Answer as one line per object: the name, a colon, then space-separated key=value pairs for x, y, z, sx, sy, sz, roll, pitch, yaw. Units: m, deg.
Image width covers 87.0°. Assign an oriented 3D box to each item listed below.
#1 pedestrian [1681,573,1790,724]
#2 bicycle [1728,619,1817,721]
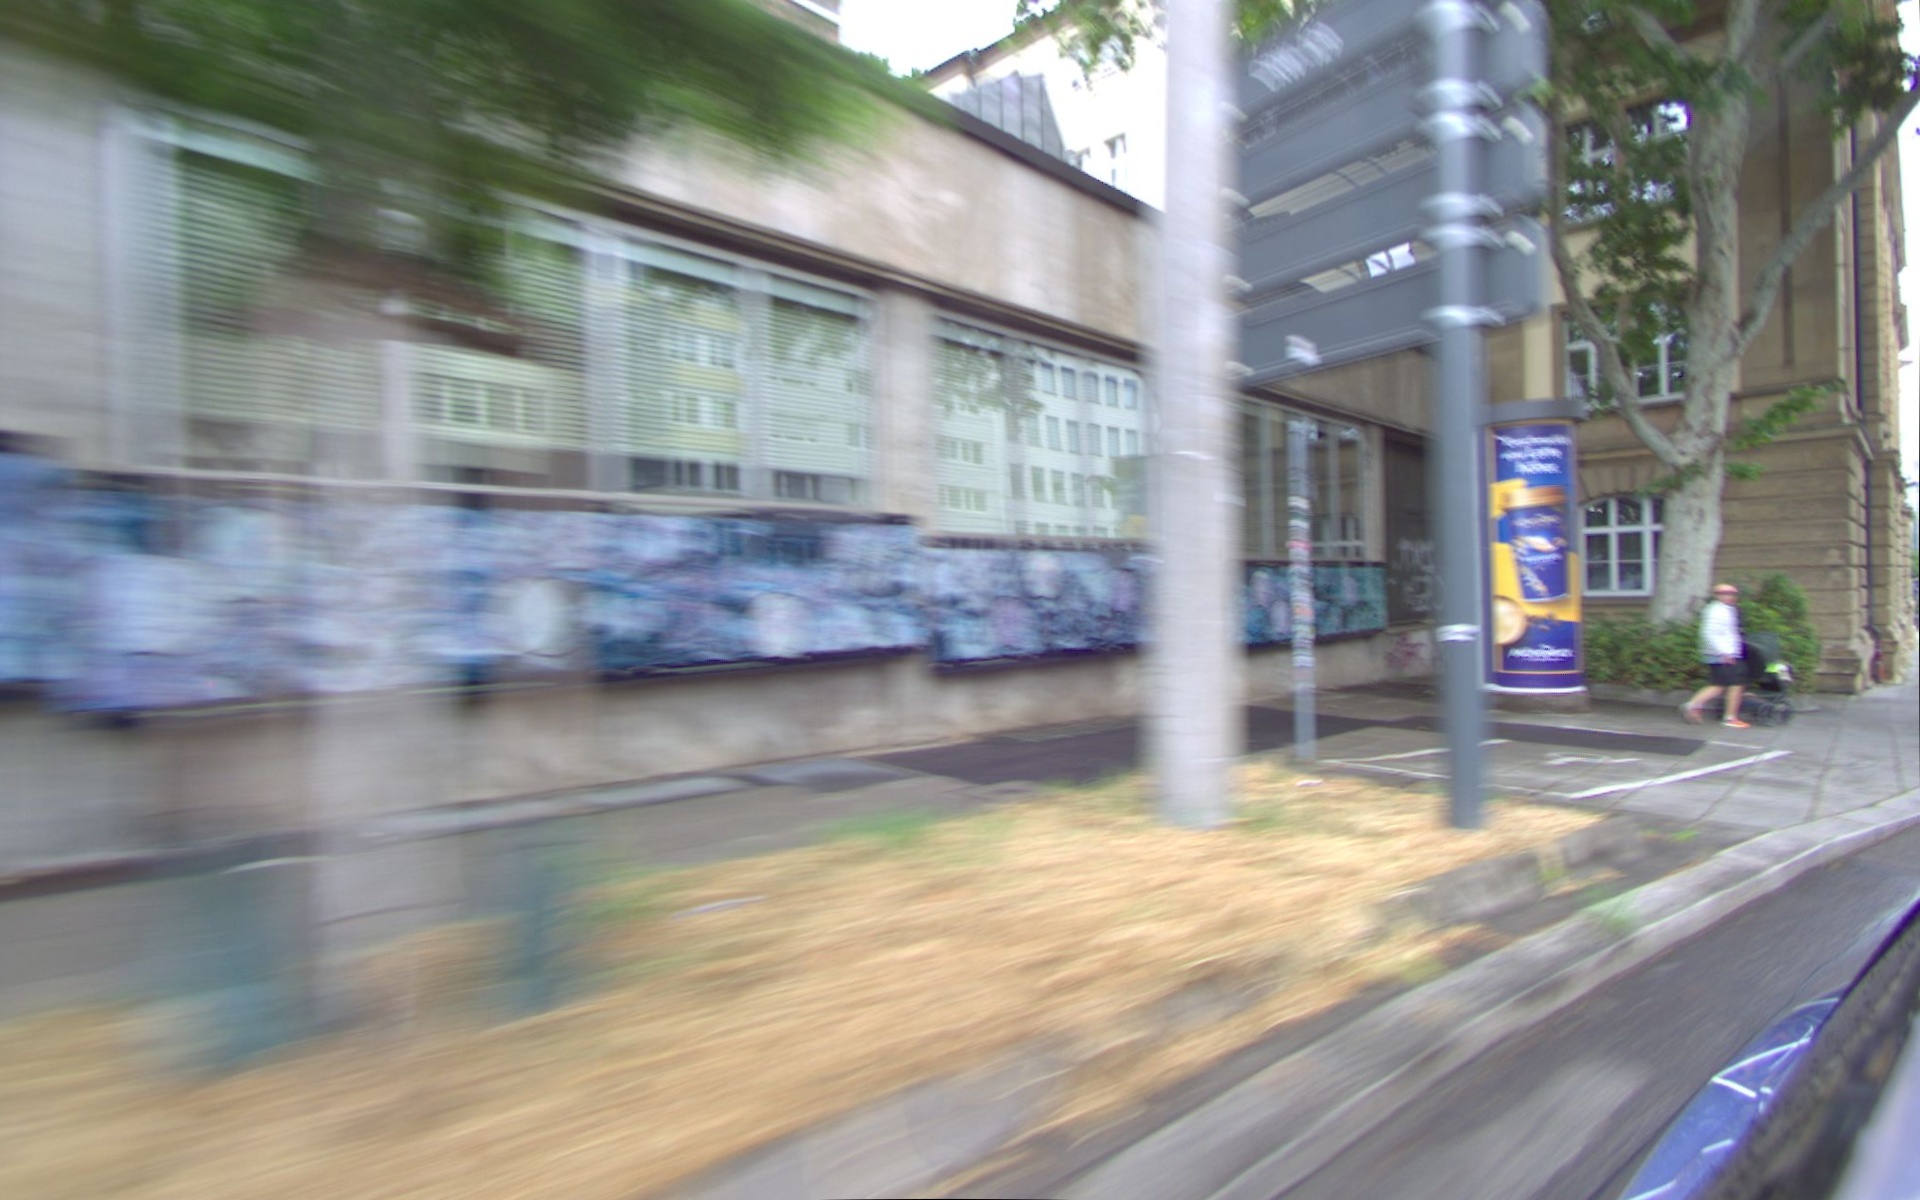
pedestrian: x=9.511 y=0.569 z=12.415 sx=0.999 sy=1.764 sz=0.721 roll=1 pitch=1 yaw=-32
bicycle: x=10.350 y=0.864 z=12.894 sx=0.892 sy=1.236 sz=0.621 roll=1 pitch=0 yaw=-32
